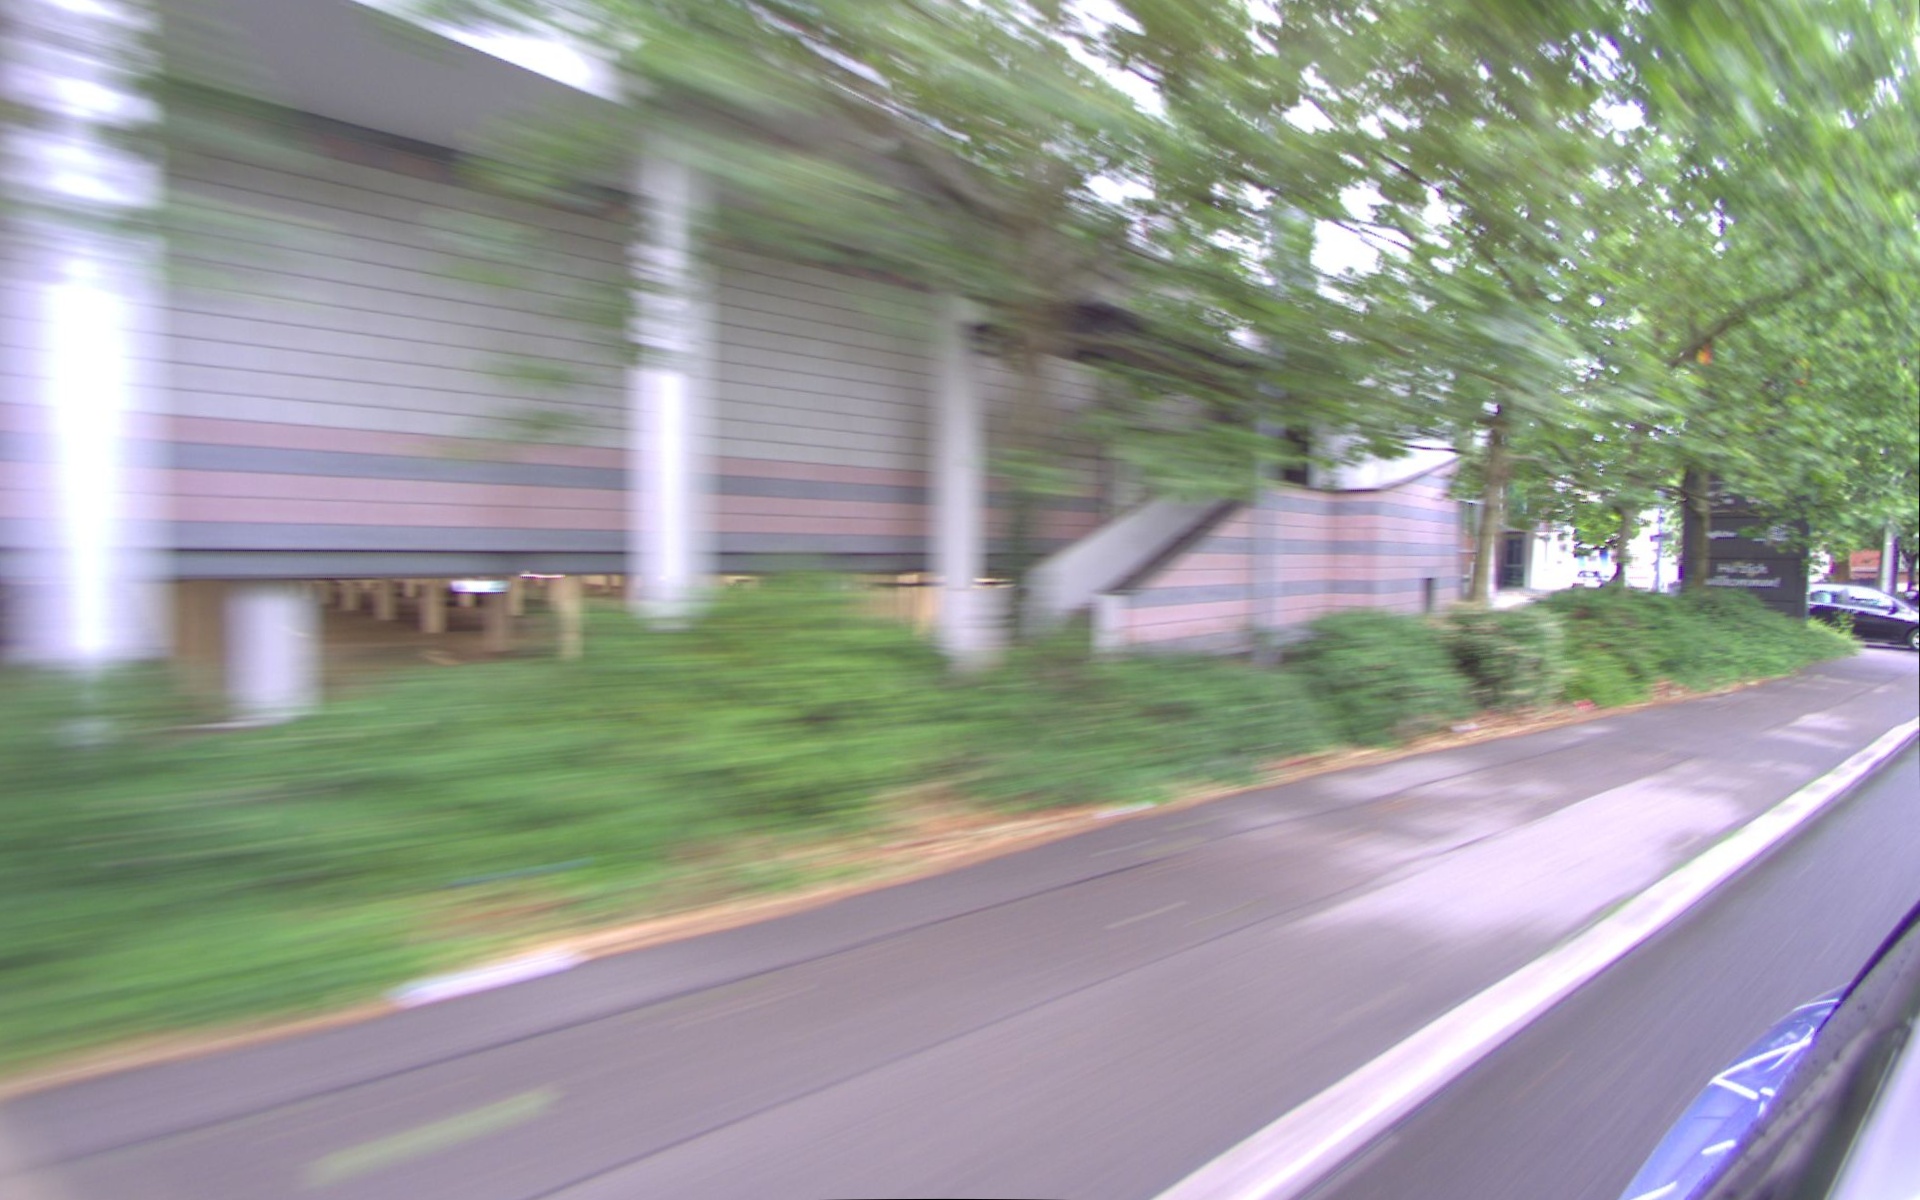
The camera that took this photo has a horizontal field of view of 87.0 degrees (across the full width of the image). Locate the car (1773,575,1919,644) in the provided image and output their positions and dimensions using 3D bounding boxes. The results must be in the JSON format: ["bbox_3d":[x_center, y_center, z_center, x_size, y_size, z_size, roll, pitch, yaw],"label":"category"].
[{"bbox_3d":[23.348,0.214,25.851,3.850,1.566,1.995,4,4,44],"label":"car"}]

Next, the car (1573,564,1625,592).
[{"bbox_3d":[43.832,-1.523,69.399,3.928,1.840,1.912,-3,2,-40],"label":"car"}]
